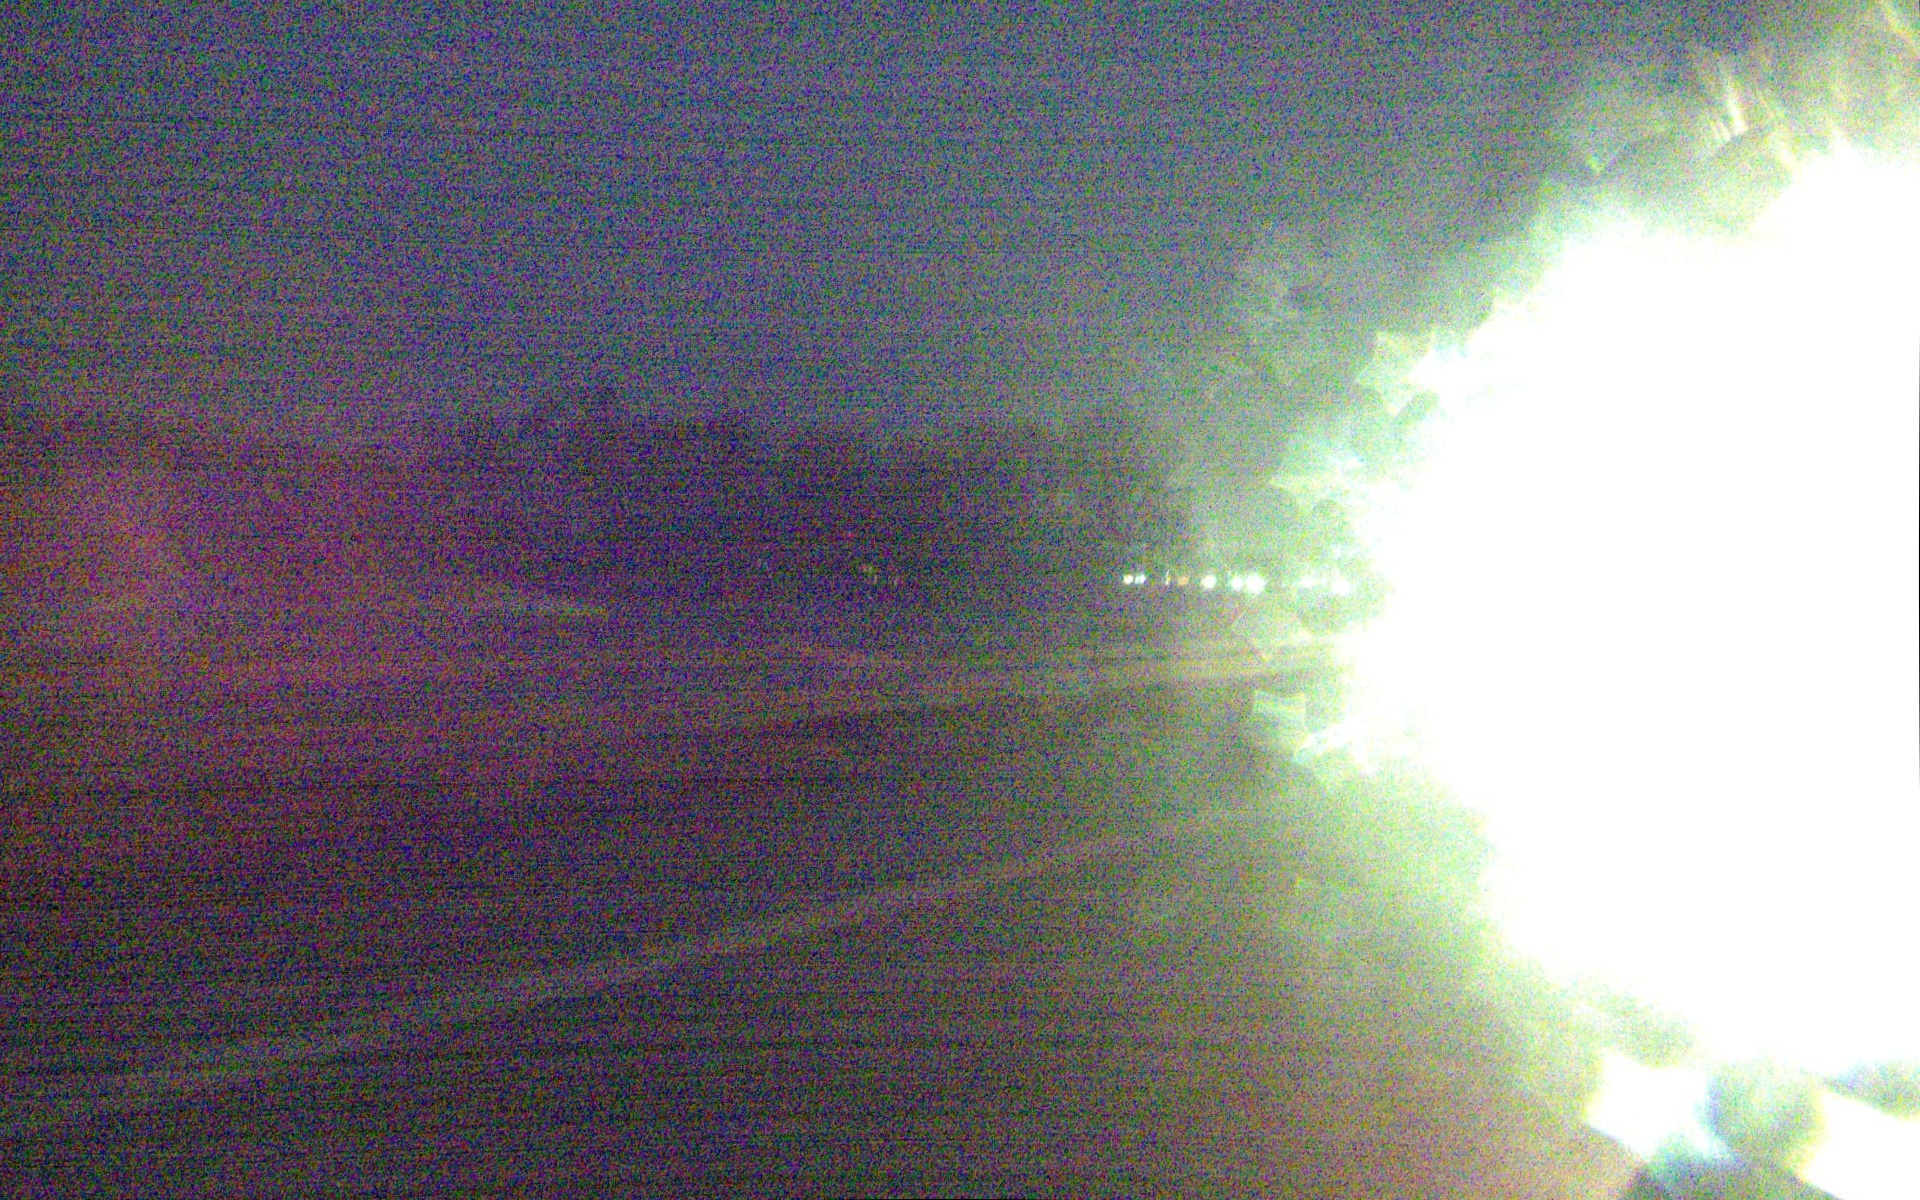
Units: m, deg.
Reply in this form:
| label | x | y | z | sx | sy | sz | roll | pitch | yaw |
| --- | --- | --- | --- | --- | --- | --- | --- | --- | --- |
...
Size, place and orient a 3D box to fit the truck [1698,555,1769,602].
| label | x | y | z | sx | sy | sz | roll | pitch | yaw |
| --- | --- | --- | --- | --- | --- | --- | --- | --- | --- |
| truck | 74.490 | -2.066 | 97.534 | 2.492 | 4.391 | 5.565 | -1 | 1 | 0 |

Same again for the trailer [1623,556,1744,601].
| label | x | y | z | sx | sy | sz | roll | pitch | yaw |
| --- | --- | --- | --- | --- | --- | --- | --- | --- | --- |
| trailer | 74.408 | -2.193 | 104.633 | 2.491 | 4.391 | 13.712 | -1 | 1 | -1 |

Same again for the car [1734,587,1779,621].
| label | x | y | z | sx | sy | sz | roll | pitch | yaw |
| --- | --- | --- | --- | --- | --- | --- | --- | --- | --- |
| car | 40.692 | 0.191 | 51.758 | 1.732 | 1.705 | 4.065 | 0 | 0 | 37 |

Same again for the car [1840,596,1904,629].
| label | x | y | z | sx | sy | sz | roll | pitch | yaw |
| --- | --- | --- | --- | --- | --- | --- | --- | --- | --- |
| car | 39.040 | 0.509 | 43.386 | 1.752 | 1.328 | 4.029 | -1 | 0 | 38 |
